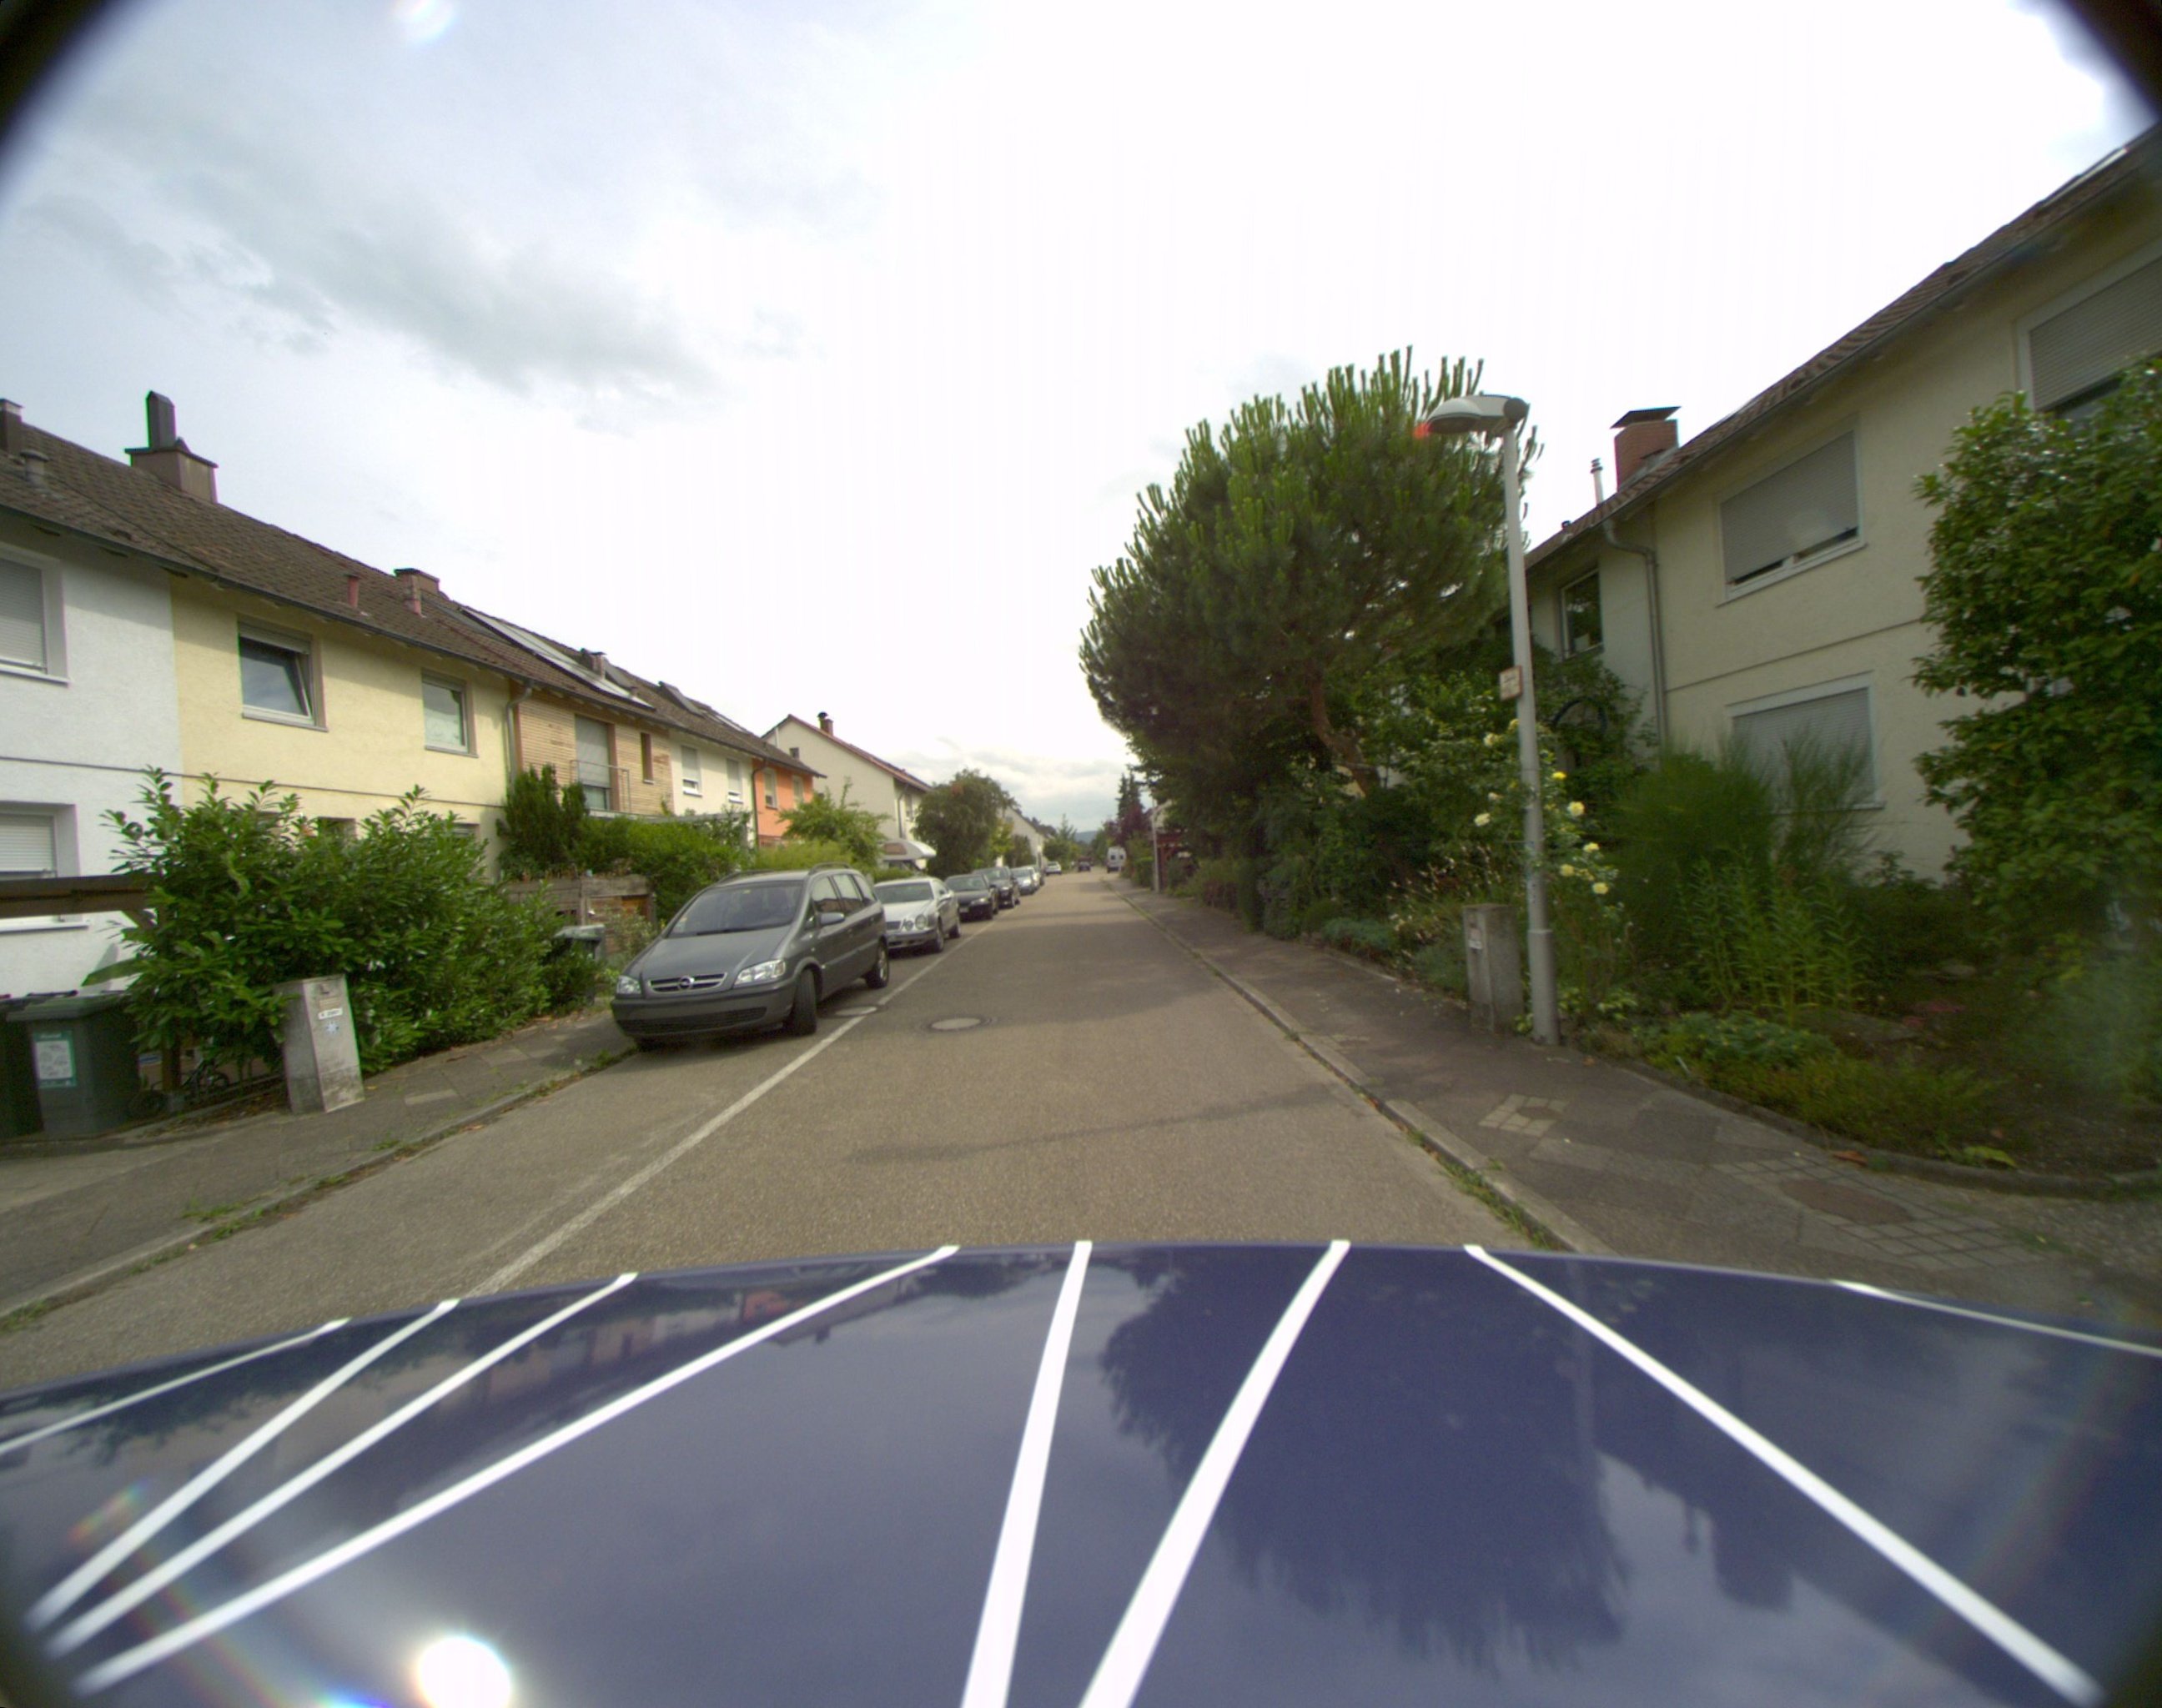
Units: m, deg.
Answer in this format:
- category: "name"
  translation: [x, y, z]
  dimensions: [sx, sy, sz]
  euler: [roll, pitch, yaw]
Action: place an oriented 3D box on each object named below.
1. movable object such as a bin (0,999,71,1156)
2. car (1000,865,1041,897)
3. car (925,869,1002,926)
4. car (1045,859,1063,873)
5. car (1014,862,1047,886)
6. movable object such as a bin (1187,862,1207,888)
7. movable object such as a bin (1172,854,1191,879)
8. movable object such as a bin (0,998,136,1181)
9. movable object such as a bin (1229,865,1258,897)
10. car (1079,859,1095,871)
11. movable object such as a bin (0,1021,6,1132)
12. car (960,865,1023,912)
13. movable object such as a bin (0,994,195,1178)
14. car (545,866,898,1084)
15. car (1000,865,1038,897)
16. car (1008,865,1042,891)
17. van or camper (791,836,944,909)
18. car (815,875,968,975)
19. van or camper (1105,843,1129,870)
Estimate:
- category: "movable object such as a bin"
  translation: [-7.885, 1.629, 5.327]
  dimensions: [0.418, 1.045, 0.887]
  euler: [-3, 0, -6]
- category: "car"
  translation: [-3.205, 1.409, 40.853]
  dimensions: [1.746, 1.462, 4.217]
  euler: [-3, 0, 1]
- category: "car"
  translation: [-3.413, 1.229, 22.844]
  dimensions: [1.737, 1.419, 4.125]
  euler: [-4, 0, -2]
- category: "car"
  translation: [-3.369, 1.436, 93.640]
  dimensions: [1.999, 1.589, 3.999]
  euler: [-4, 0, -3]
- category: "car"
  translation: [-3.472, 1.337, 53.107]
  dimensions: [1.872, 1.431, 4.851]
  euler: [-4, 0, 1]
- category: "movable object such as a bin"
  translation: [5.155, 0.922, 33.740]
  dimensions: [0.705, 1.123, 0.877]
  euler: [-3, 0, 0]
- category: "movable object such as a bin"
  translation: [4.463, 0.562, 33.720]
  dimensions: [0.705, 1.065, 0.822]
  euler: [-3, 0, 0]
- category: "movable object such as a bin"
  translation: [-7.366, 1.633, 5.350]
  dimensions: [0.371, 1.060, 0.851]
  euler: [-3, 0, -9]
- category: "movable object such as a bin"
  translation: [5.198, 0.858, 24.290]
  dimensions: [0.713, 0.951, 0.751]
  euler: [-3, 0, 0]
- category: "car"
  translation: [0.875, 1.641, 112.966]
  dimensions: [1.998, 1.696, 4.001]
  euler: [-4, 0, 4]
- category: "movable object such as a bin"
  translation: [-8.361, 1.615, 5.313]
  dimensions: [0.426, 0.981, 0.887]
  euler: [-3, 0, -7]
- category: "car"
  translation: [-3.248, 1.234, 28.502]
  dimensions: [1.754, 1.458, 4.647]
  euler: [-4, 0, 0]
- category: "movable object such as a bin"
  translation: [-6.903, 1.583, 5.347]
  dimensions: [0.405, 1.027, 0.790]
  euler: [-4, 0, -8]
- category: "car"
  translation: [-3.512, 1.040, 8.537]
  dimensions: [1.872, 1.643, 4.463]
  euler: [-4, 0, -2]
- category: "car"
  translation: [-3.282, 1.402, 40.825]
  dimensions: [1.708, 1.433, 4.220]
  euler: [-5, 0, -2]
- category: "car"
  translation: [-3.375, 1.423, 46.418]
  dimensions: [1.697, 1.356, 4.698]
  euler: [-4, 0, -1]
- category: "van or camper"
  translation: [-9.293, 0.795, 33.425]
  dimensions: [5.812, 2.801, 2.537]
  euler: [-3, 0, 3]
- category: "car"
  translation: [-3.492, 1.234, 14.978]
  dimensions: [1.872, 1.399, 4.767]
  euler: [-5, 0, -2]
- category: "van or camper"
  translation: [3.932, 0.267, 83.975]
  dimensions: [2.346, 2.719, 5.748]
  euler: [-4, 0, 1]
